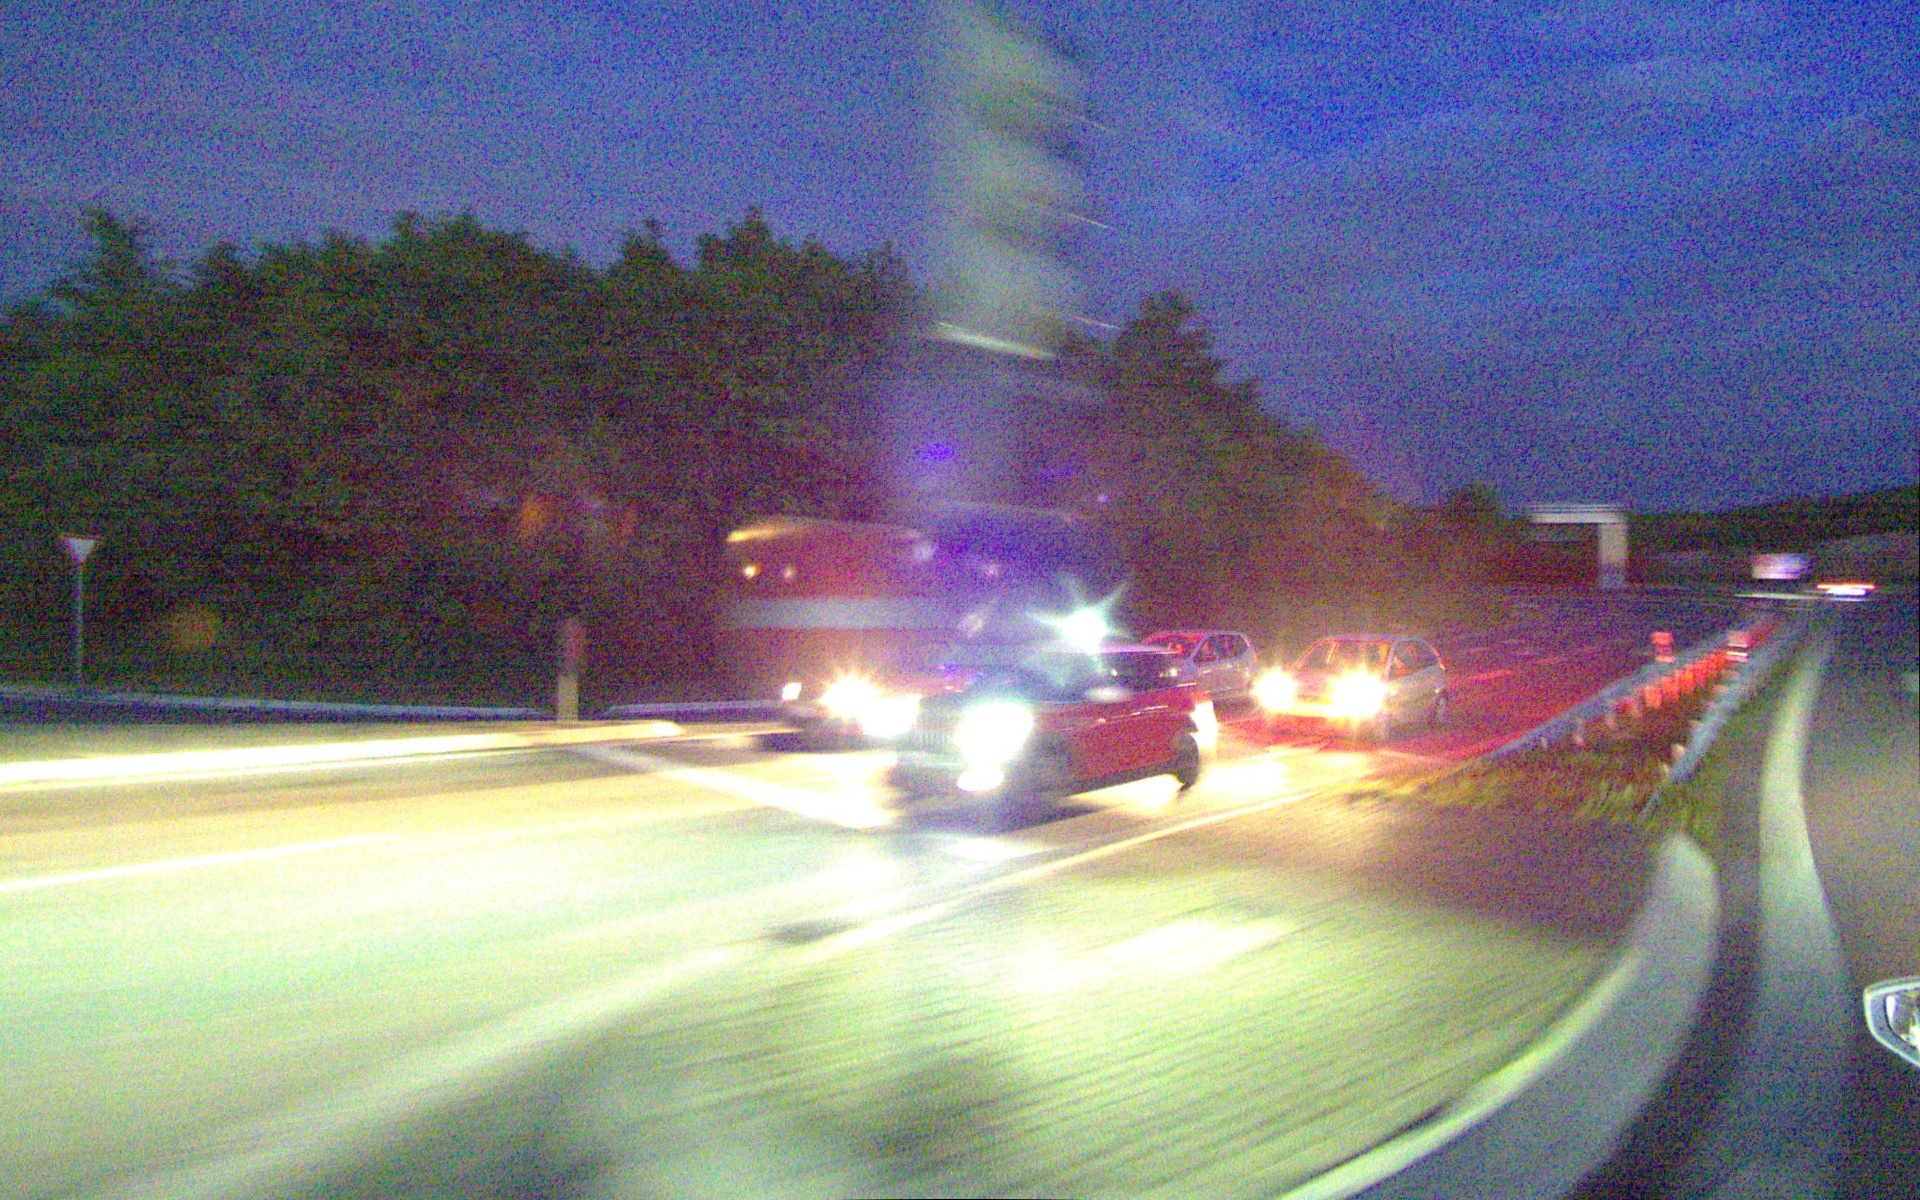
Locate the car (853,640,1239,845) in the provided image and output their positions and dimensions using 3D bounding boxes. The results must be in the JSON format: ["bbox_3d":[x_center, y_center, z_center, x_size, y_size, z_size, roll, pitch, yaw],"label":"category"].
[{"bbox_3d":[0.987,1.165,9.547,1.680,1.494,3.850,0,-2,42],"label":"car"}]

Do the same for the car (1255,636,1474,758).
[{"bbox_3d":[6.147,1.327,15.028,1.692,1.463,3.961,-2,-1,44],"label":"car"}]

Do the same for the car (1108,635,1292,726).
[{"bbox_3d":[4.567,1.430,18.827,1.666,1.479,3.790,-3,-2,44],"label":"car"}]

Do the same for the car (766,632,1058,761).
[{"bbox_3d":[-0.543,1.218,13.999,1.735,1.480,3.977,1,-1,43],"label":"car"}]

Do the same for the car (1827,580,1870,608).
[{"bbox_3d":[66.559,-0.443,75.288,1.967,2.040,3.986,0,0,35],"label":"car"}]
